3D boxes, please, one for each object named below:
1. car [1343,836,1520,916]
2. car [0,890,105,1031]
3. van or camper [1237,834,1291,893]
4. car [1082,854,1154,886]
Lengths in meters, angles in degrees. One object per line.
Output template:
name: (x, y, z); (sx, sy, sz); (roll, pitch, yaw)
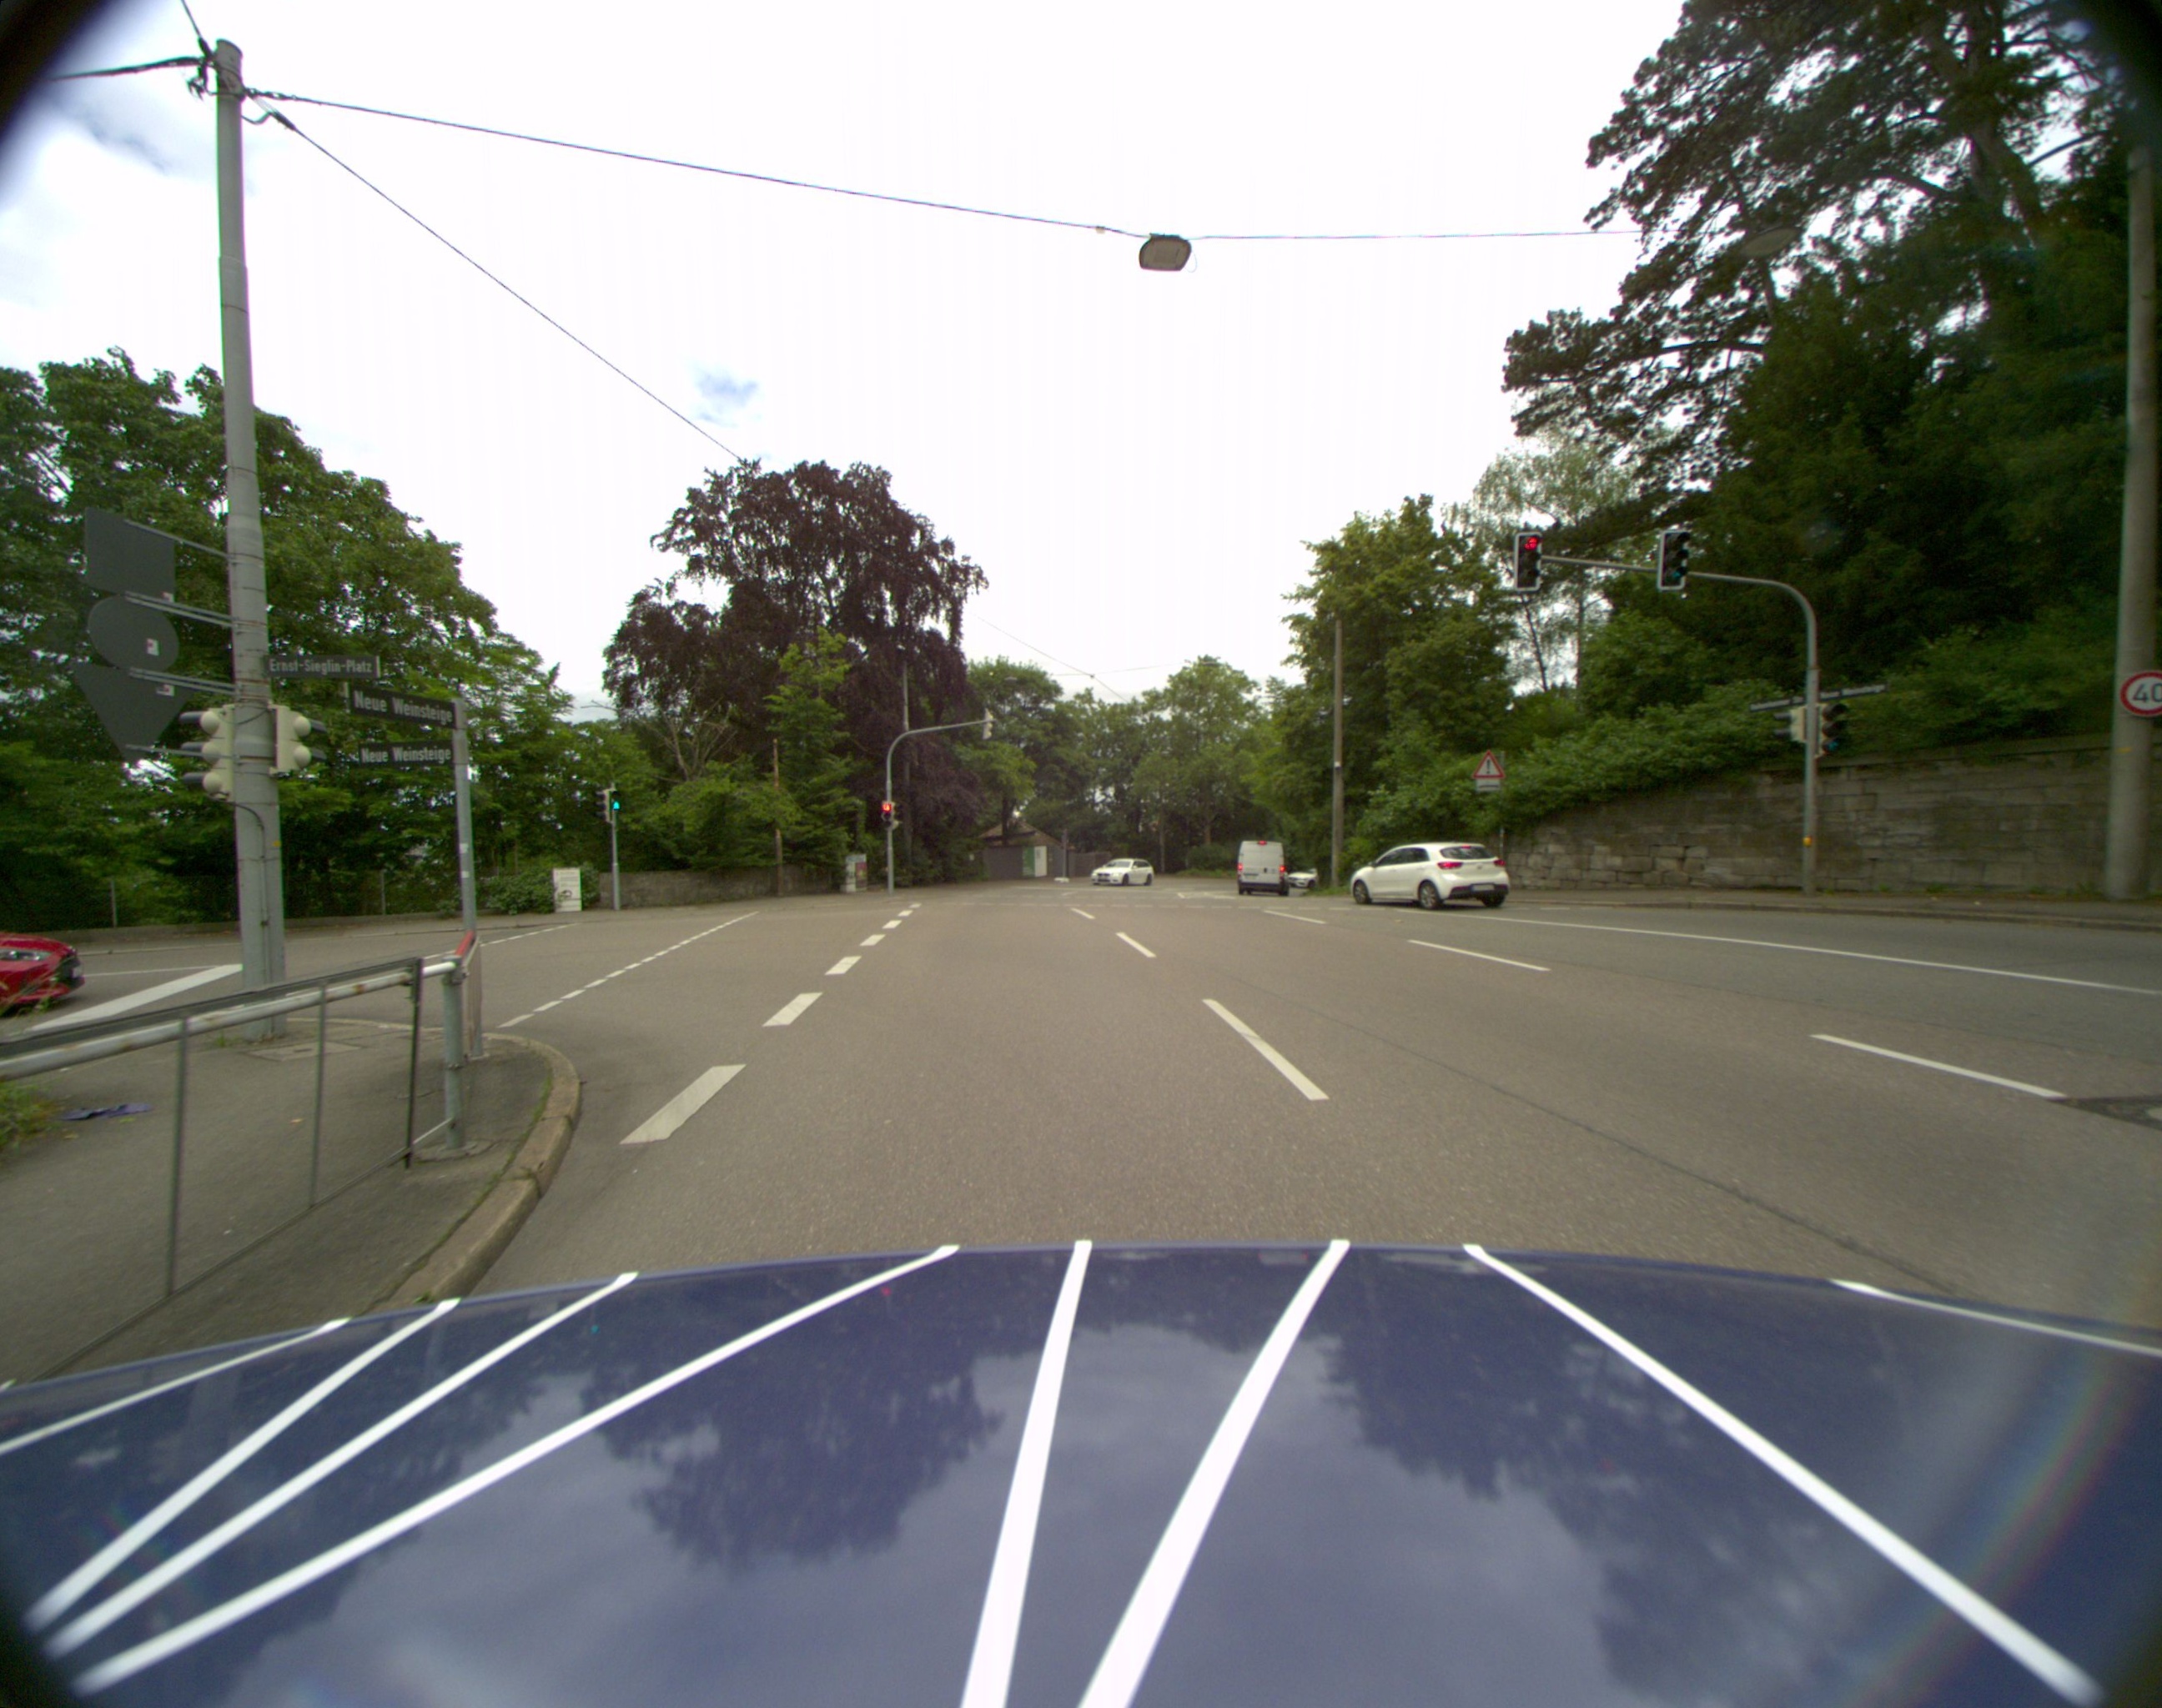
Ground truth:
car: (7.866, 0.447, 17.547); (1.641, 1.547, 4.110); (-3, 0, -9)
car: (-14.187, 1.367, 8.496); (3.706, 1.497, 1.646); (-4, 5, -42)
van or camper: (8.809, 0.540, 36.290); (2.205, 2.530, 5.368); (0, -3, 17)
car: (2.078, 0.824, 40.941); (1.818, 1.463, 4.793); (5, 3, 30)
